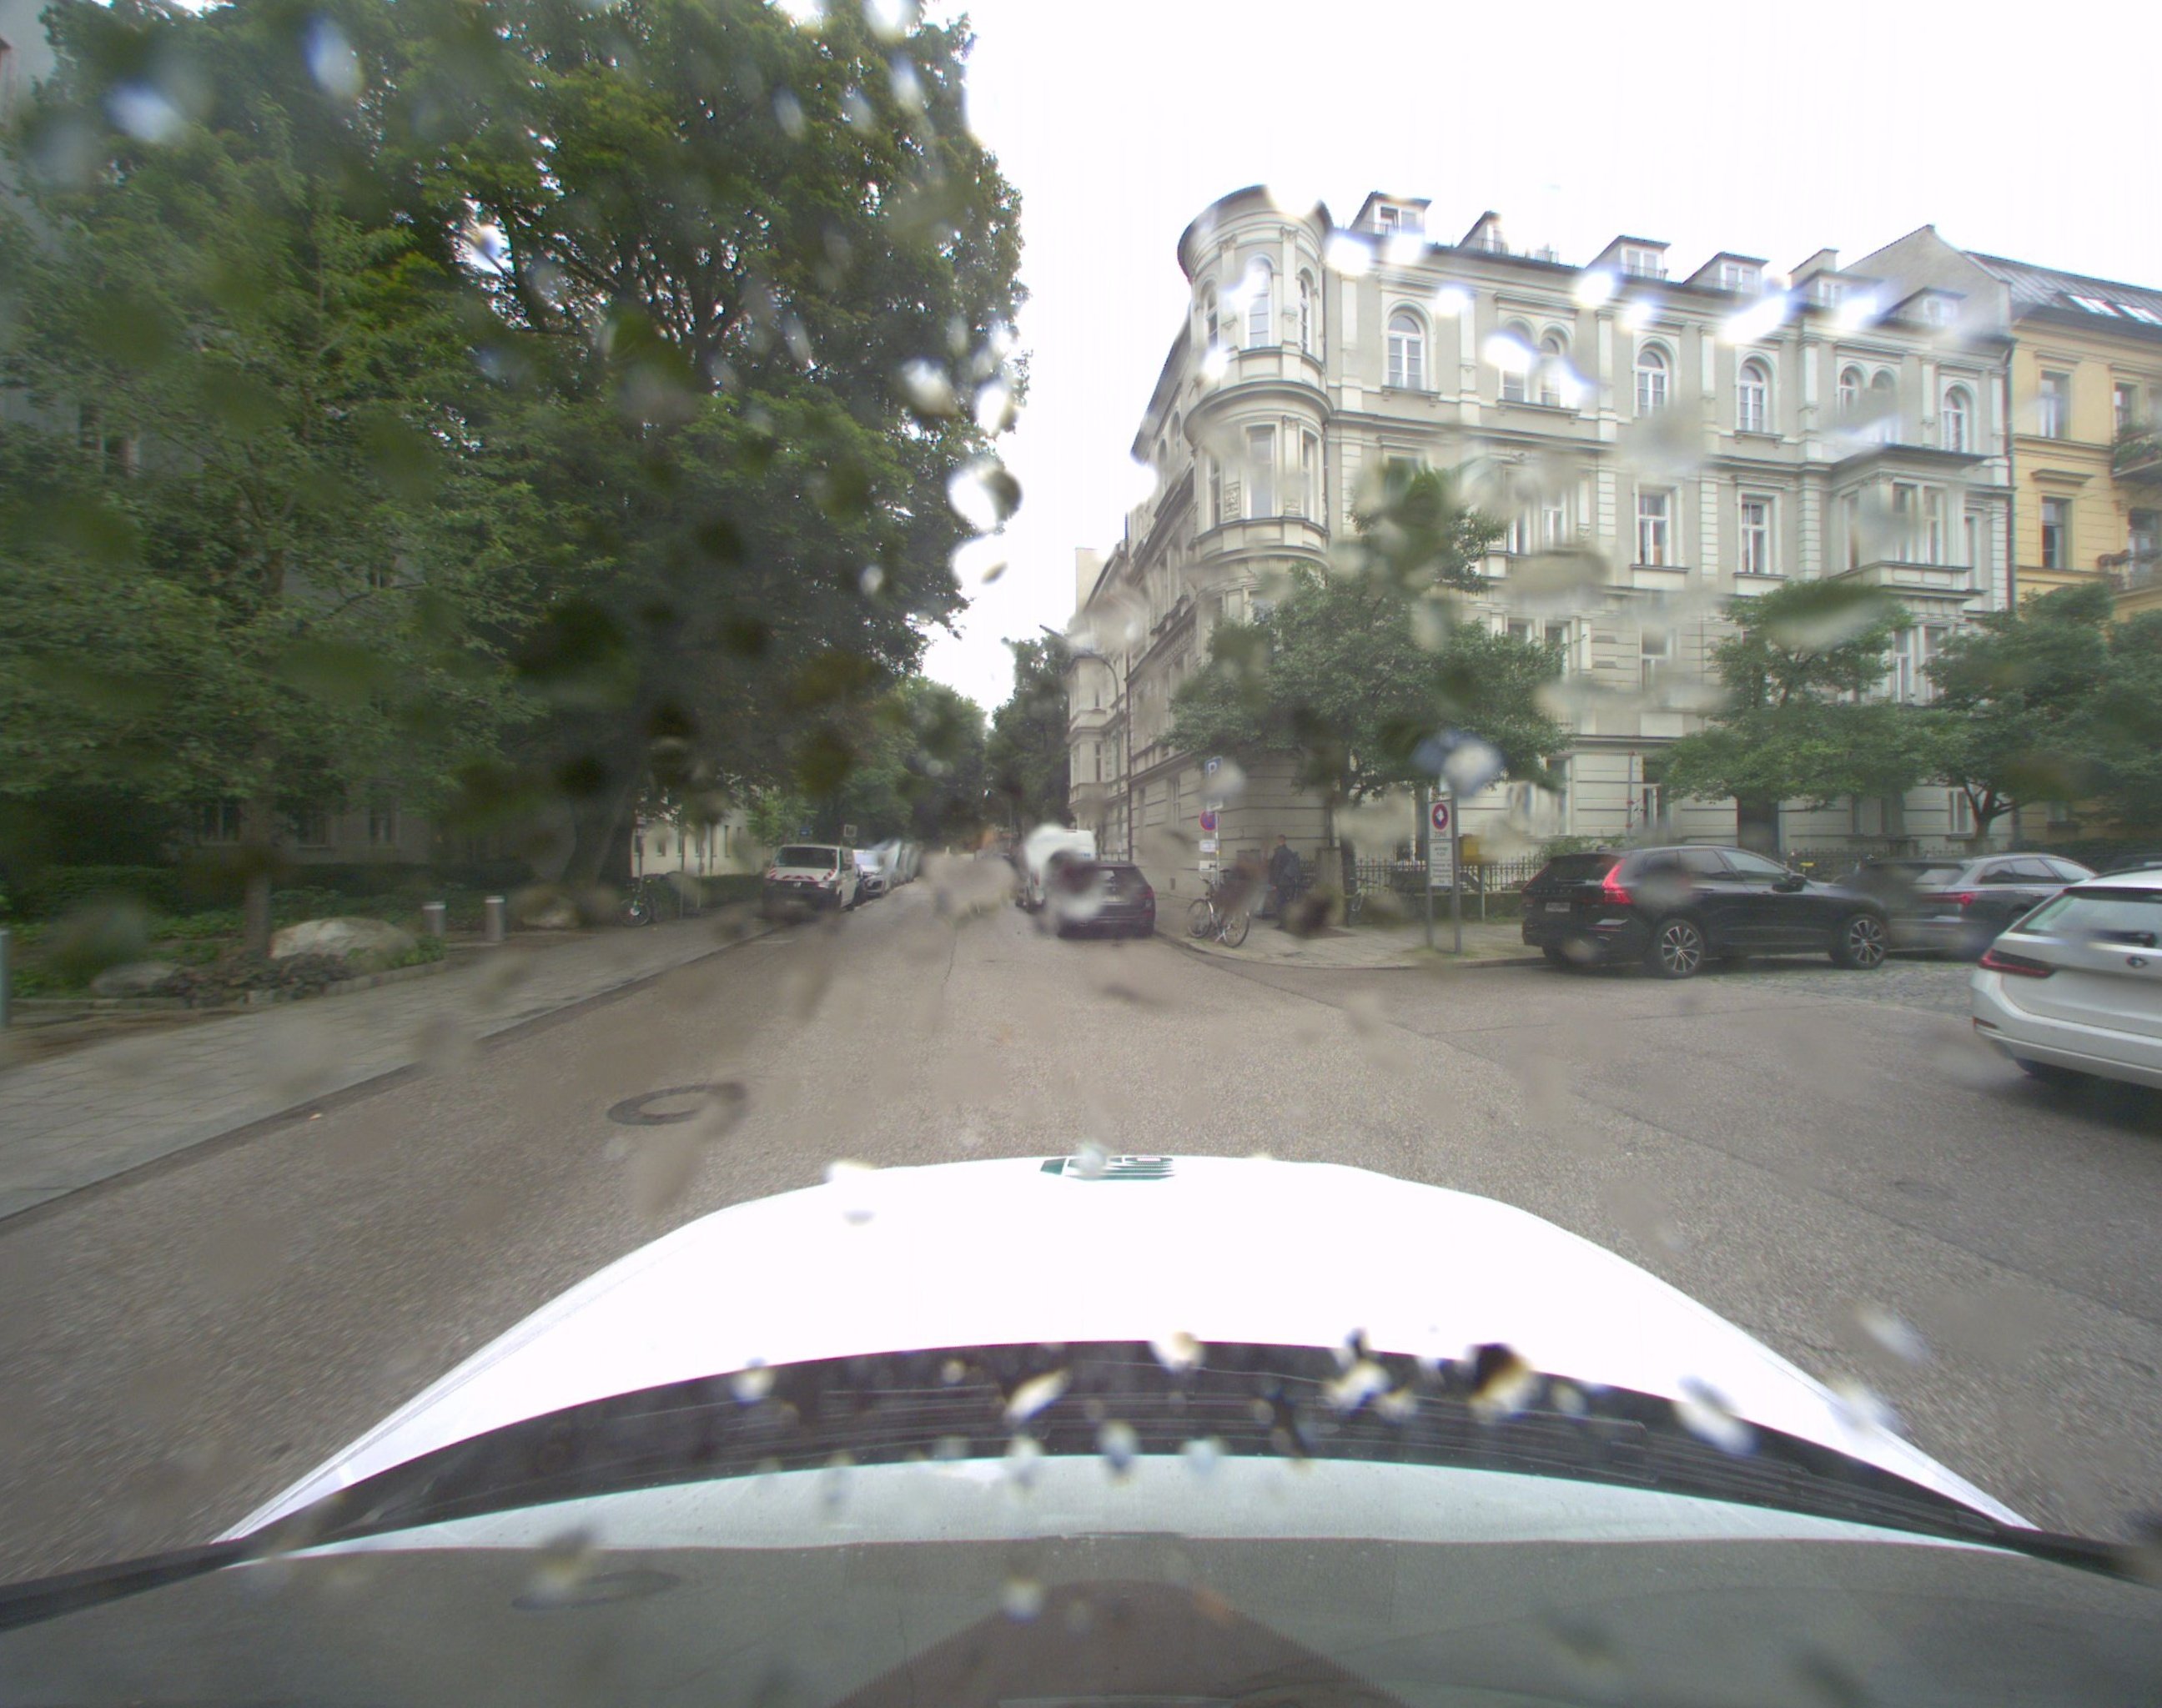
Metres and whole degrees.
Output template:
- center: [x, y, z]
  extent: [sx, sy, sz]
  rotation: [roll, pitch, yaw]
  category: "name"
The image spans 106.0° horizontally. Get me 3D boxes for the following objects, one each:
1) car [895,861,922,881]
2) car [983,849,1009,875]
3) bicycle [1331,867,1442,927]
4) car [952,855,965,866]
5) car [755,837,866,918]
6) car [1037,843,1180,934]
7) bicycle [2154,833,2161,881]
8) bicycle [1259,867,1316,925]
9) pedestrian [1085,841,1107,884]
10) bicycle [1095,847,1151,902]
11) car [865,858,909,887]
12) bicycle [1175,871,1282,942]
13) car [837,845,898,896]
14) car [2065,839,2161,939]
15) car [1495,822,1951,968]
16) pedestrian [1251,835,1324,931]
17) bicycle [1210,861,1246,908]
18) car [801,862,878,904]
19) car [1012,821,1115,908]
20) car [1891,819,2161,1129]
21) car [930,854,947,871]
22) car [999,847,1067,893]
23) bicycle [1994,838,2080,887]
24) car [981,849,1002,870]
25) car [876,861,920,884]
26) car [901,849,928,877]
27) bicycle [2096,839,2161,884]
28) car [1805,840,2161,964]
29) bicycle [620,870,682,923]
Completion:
- center: [-12.156, 1.165, 57.543]
  extent: [1.820, 1.329, 4.083]
  rotation: [0, 0, -12]
  category: "car"
- center: [-6.961, 0.636, 66.320]
  extent: [1.992, 1.975, 3.991]
  rotation: [-2, 0, -7]
  category: "car"
- center: [5.742, 0.792, 15.342]
  extent: [1.920, 1.028, 0.556]
  rotation: [-1, 1, -7]
  category: "bicycle"
- center: [-20.360, 1.121, 135.402]
  extent: [1.992, 1.783, 3.991]
  rotation: [-2, 0, -7]
  category: "car"
- center: [-7.311, 0.580, 22.595]
  extent: [2.249, 1.956, 5.432]
  rotation: [0, 0, -12]
  category: "car"
- center: [0.392, 0.629, 16.998]
  extent: [2.270, 1.546, 4.576]
  rotation: [-2, 0, -7]
  category: "car"
- center: [27.058, 0.063, 19.661]
  extent: [1.753, 1.143, 0.419]
  rotation: [-1, 1, 0]
  category: "bicycle"
- center: [4.125, 0.808, 16.399]
  extent: [0.429, 1.028, 1.886]
  rotation: [-1, 1, -7]
  category: "bicycle"
- center: [0.659, 0.356, 35.496]
  extent: [0.858, 1.835, 0.665]
  rotation: [-1, 0, -8]
  category: "pedestrian"
- center: [1.201, 0.573, 23.676]
  extent: [0.711, 1.515, 2.021]
  rotation: [-1, 0, -26]
  category: "bicycle"
- center: [-10.742, 0.989, 45.398]
  extent: [2.069, 1.519, 4.224]
  rotation: [0, 0, -9]
  category: "car"
- center: [2.447, 0.841, 13.852]
  extent: [0.657, 1.028, 2.184]
  rotation: [-2, 1, -24]
  category: "bicycle"
- center: [-8.863, 0.653, 34.183]
  extent: [2.185, 1.956, 5.146]
  rotation: [0, 0, -12]
  category: "car"
- center: [18.136, 0.496, 12.918]
  extent: [3.719, 1.516, 1.701]
  rotation: [-1, -2, -13]
  category: "car"
- center: [8.426, 0.509, 10.859]
  extent: [5.041, 1.652, 1.935]
  rotation: [-1, -4, -12]
  category: "car"
- center: [3.839, 0.521, 15.178]
  extent: [0.861, 1.689, 0.968]
  rotation: [-2, 0, -22]
  category: "pedestrian"
- center: [3.574, 0.727, 19.900]
  extent: [0.544, 1.060, 1.750]
  rotation: [-1, 0, 0]
  category: "bicycle"
- center: [-8.313, 0.961, 28.408]
  extent: [2.214, 1.329, 3.932]
  rotation: [0, 0, -12]
  category: "car"
- center: [-0.641, 0.293, 23.867]
  extent: [2.204, 2.208, 4.837]
  rotation: [-2, 0, -10]
  category: "car"
- center: [7.846, 0.561, 4.862]
  extent: [4.909, 1.531, 1.906]
  rotation: [-2, 3, -12]
  category: "car"
- center: [-18.586, 1.086, 106.299]
  extent: [2.049, 2.154, 4.296]
  rotation: [0, 0, -12]
  category: "car"
- center: [-1.993, 0.618, 32.576]
  extent: [2.139, 1.630, 4.300]
  rotation: [-2, 0, -10]
  category: "car"
- center: [22.208, 0.189, 18.911]
  extent: [1.826, 1.102, 0.371]
  rotation: [-1, 0, -8]
  category: "bicycle"
- center: [-9.383, 0.566, 85.309]
  extent: [1.992, 2.013, 3.991]
  rotation: [-2, 0, -7]
  category: "car"
- center: [-11.247, 1.106, 50.289]
  extent: [2.115, 1.329, 4.129]
  rotation: [0, 0, -6]
  category: "car"
- center: [-13.635, 0.751, 66.744]
  extent: [2.002, 2.186, 4.680]
  rotation: [0, 0, -10]
  category: "car"
- center: [25.229, 0.162, 19.480]
  extent: [1.760, 1.027, 0.418]
  rotation: [-1, 1, -12]
  category: "bicycle"
- center: [13.589, 0.635, 11.955]
  extent: [5.168, 1.505, 1.801]
  rotation: [-1, -2, -15]
  category: "car"
- center: [-9.696, 0.935, 18.428]
  extent: [0.632, 1.102, 1.763]
  rotation: [0, -1, -7]
  category: "bicycle"
